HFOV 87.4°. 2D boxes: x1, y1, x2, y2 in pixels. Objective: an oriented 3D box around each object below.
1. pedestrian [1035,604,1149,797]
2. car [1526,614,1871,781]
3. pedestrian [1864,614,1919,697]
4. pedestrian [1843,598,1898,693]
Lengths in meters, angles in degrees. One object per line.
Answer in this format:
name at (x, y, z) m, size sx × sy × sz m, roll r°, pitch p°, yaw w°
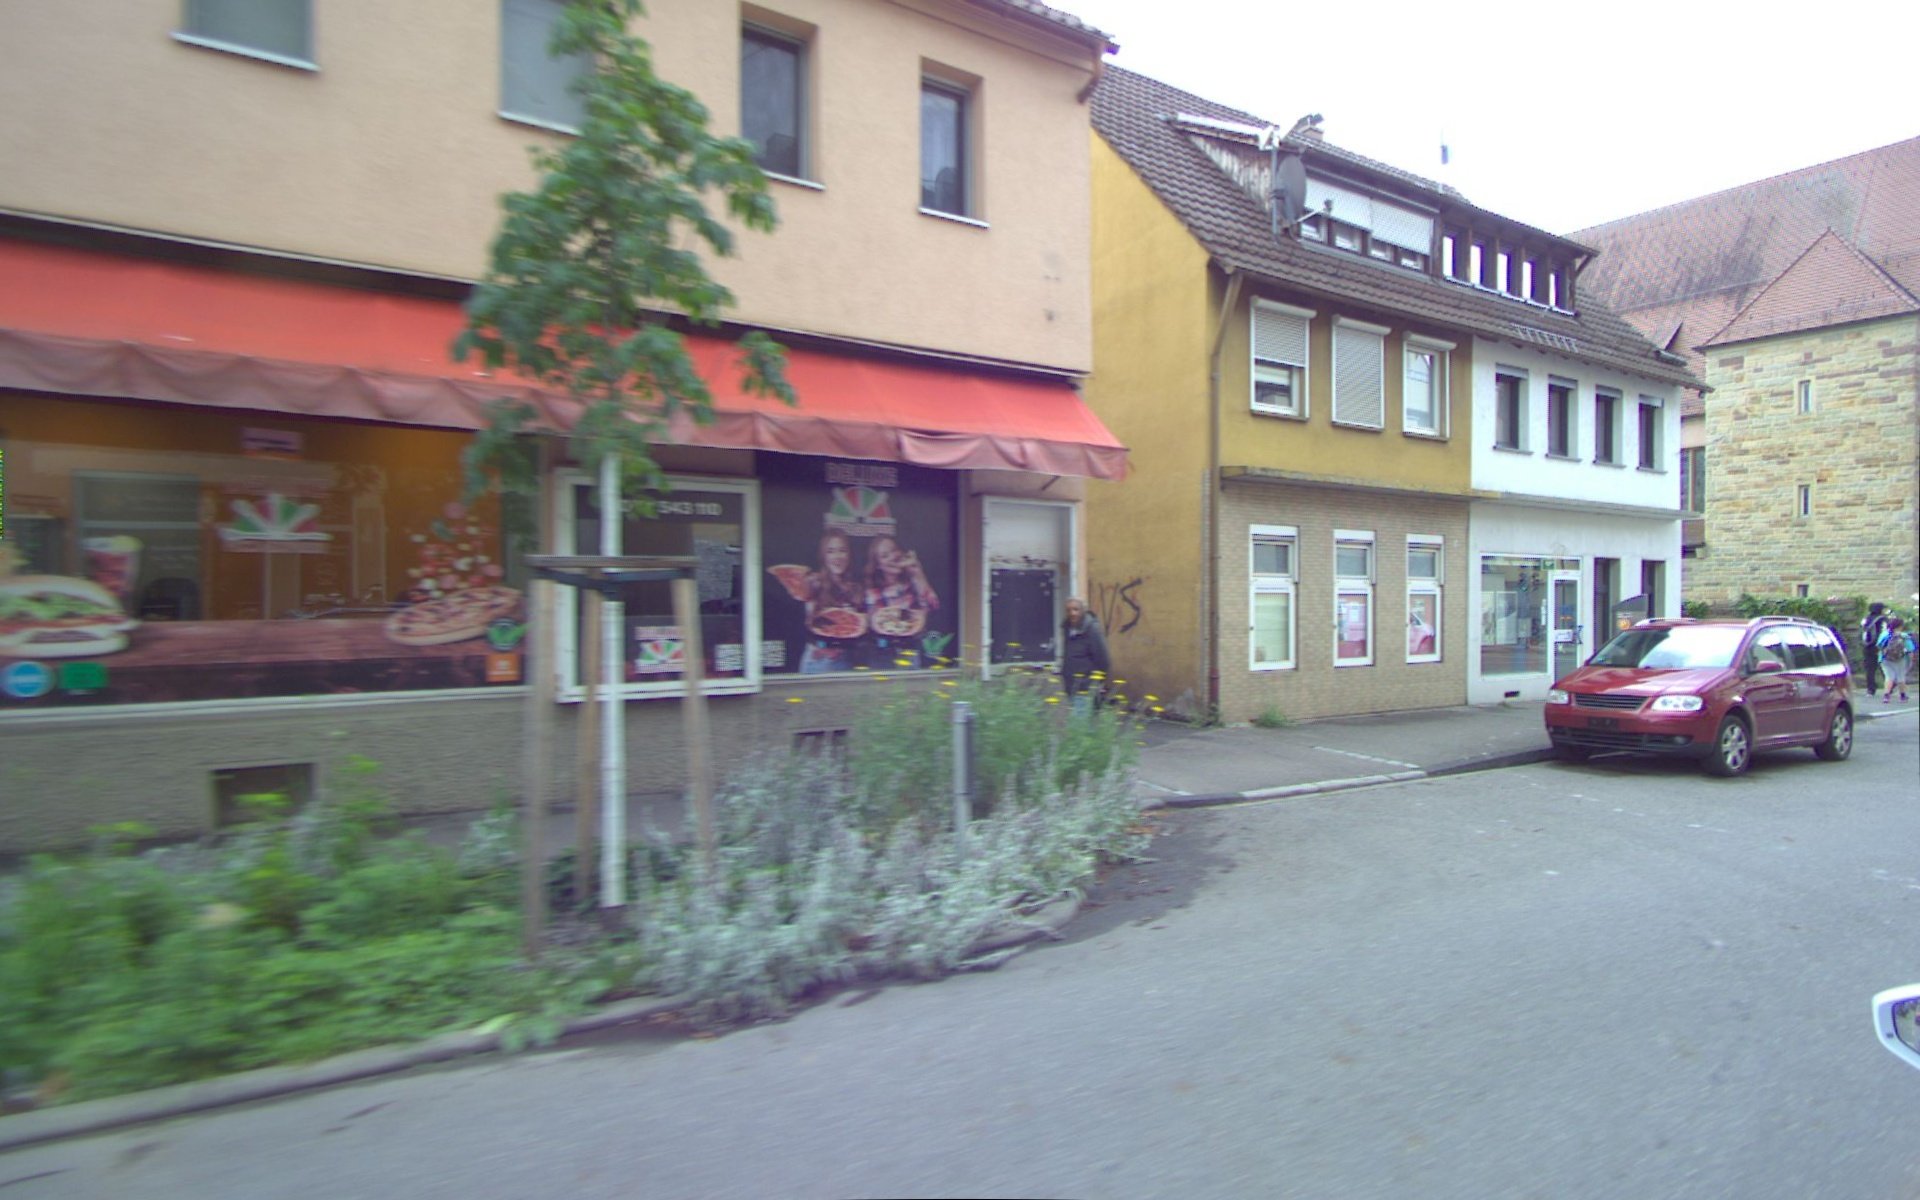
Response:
pedestrian at (1.196, 0.863, 9.133) m, size 0.751 × 1.650 × 0.725 m, roll 0°, pitch 0°, yaw -36°
car at (8.680, 0.996, 11.708) m, size 4.400 × 1.594 × 1.694 m, roll 0°, pitch -2°, yaw -32°
pedestrian at (18.243, 1.066, 19.669) m, size 0.688 × 1.575 × 0.568 m, roll 0°, pitch 2°, yaw -30°
pedestrian at (18.712, 0.919, 20.640) m, size 0.688 × 1.873 × 0.568 m, roll 0°, pitch 3°, yaw -30°
